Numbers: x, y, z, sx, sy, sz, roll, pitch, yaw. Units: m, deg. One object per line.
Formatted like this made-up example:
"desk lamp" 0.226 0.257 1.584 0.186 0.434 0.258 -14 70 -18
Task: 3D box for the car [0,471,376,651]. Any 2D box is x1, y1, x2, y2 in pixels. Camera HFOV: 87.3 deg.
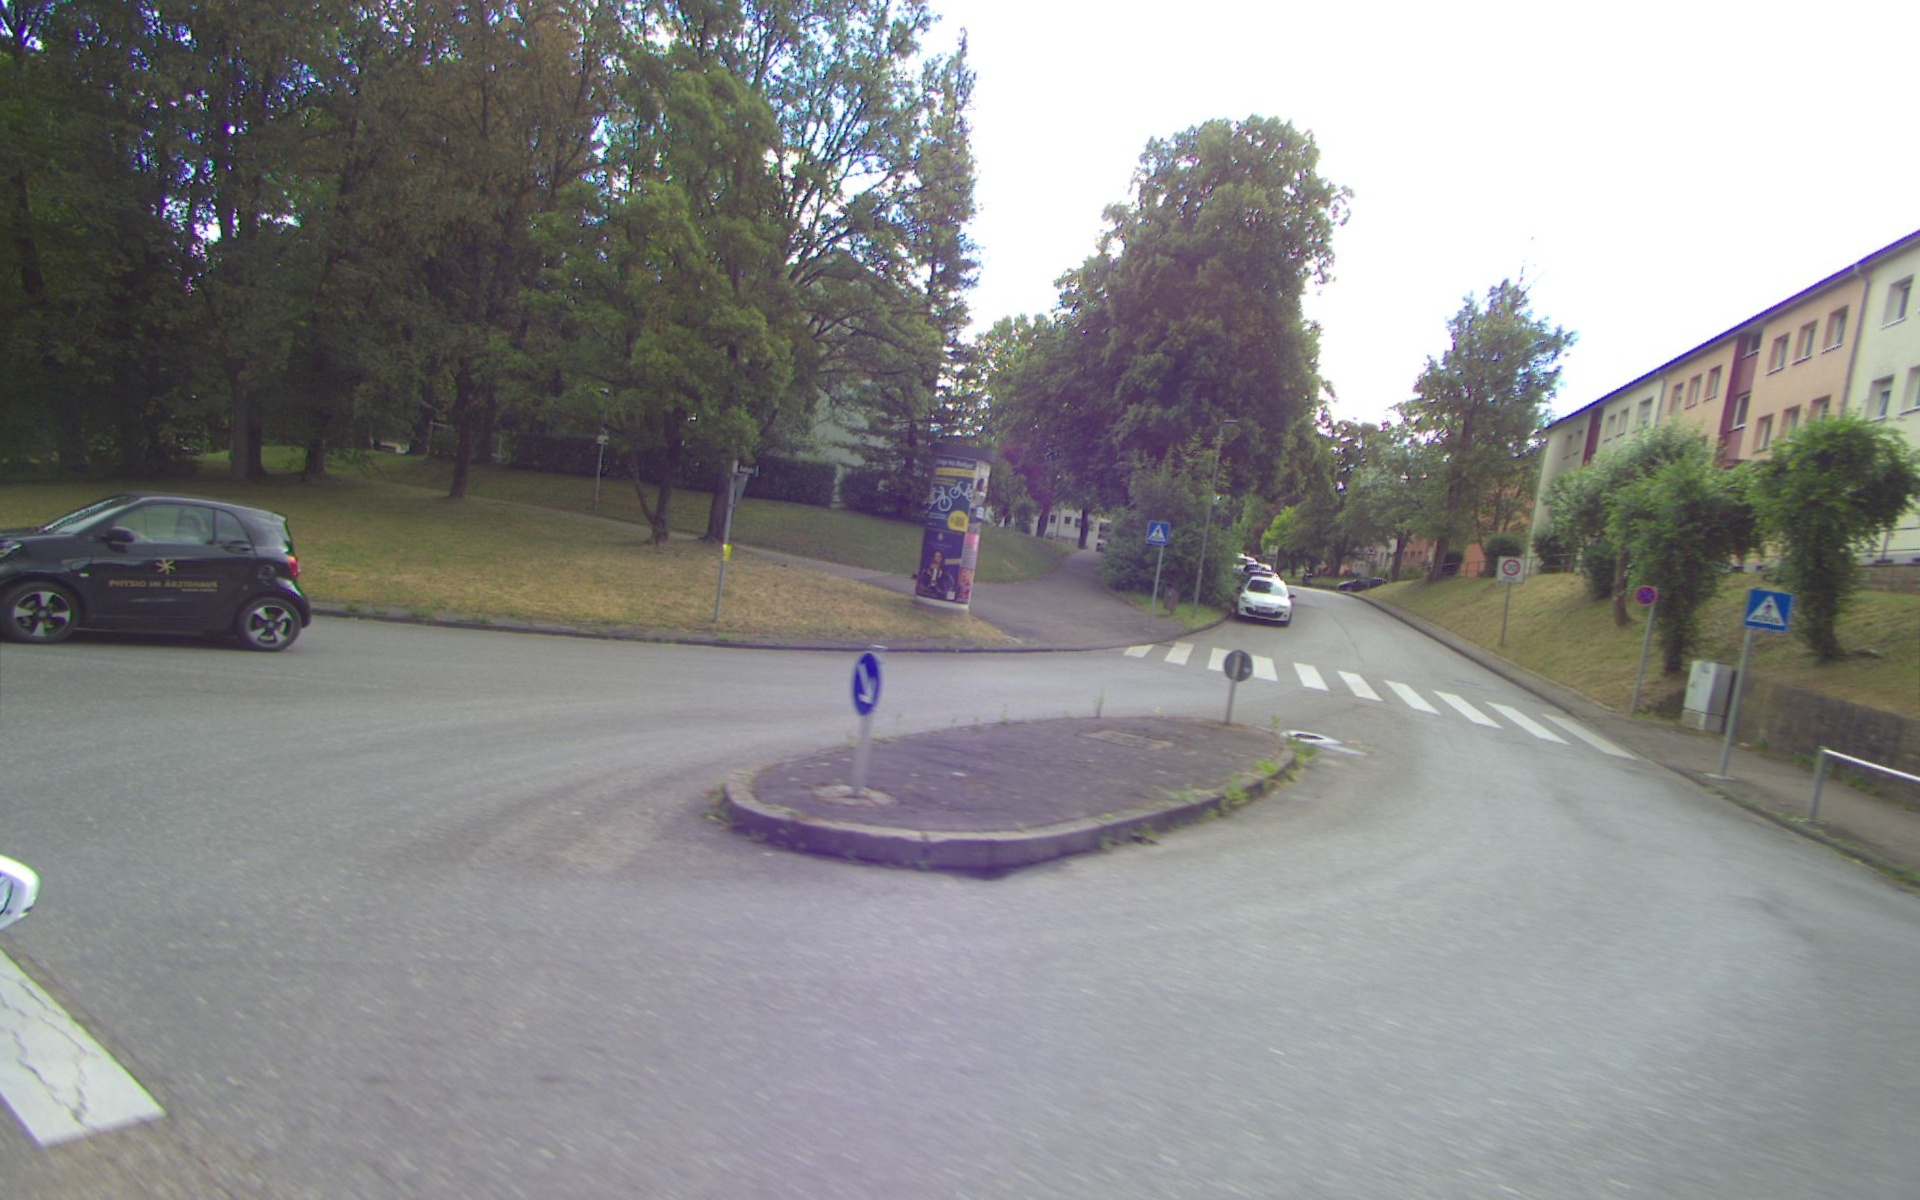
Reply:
"car" -8.354 -0.367 10.642 1.643 1.513 3.302 7 1 37
